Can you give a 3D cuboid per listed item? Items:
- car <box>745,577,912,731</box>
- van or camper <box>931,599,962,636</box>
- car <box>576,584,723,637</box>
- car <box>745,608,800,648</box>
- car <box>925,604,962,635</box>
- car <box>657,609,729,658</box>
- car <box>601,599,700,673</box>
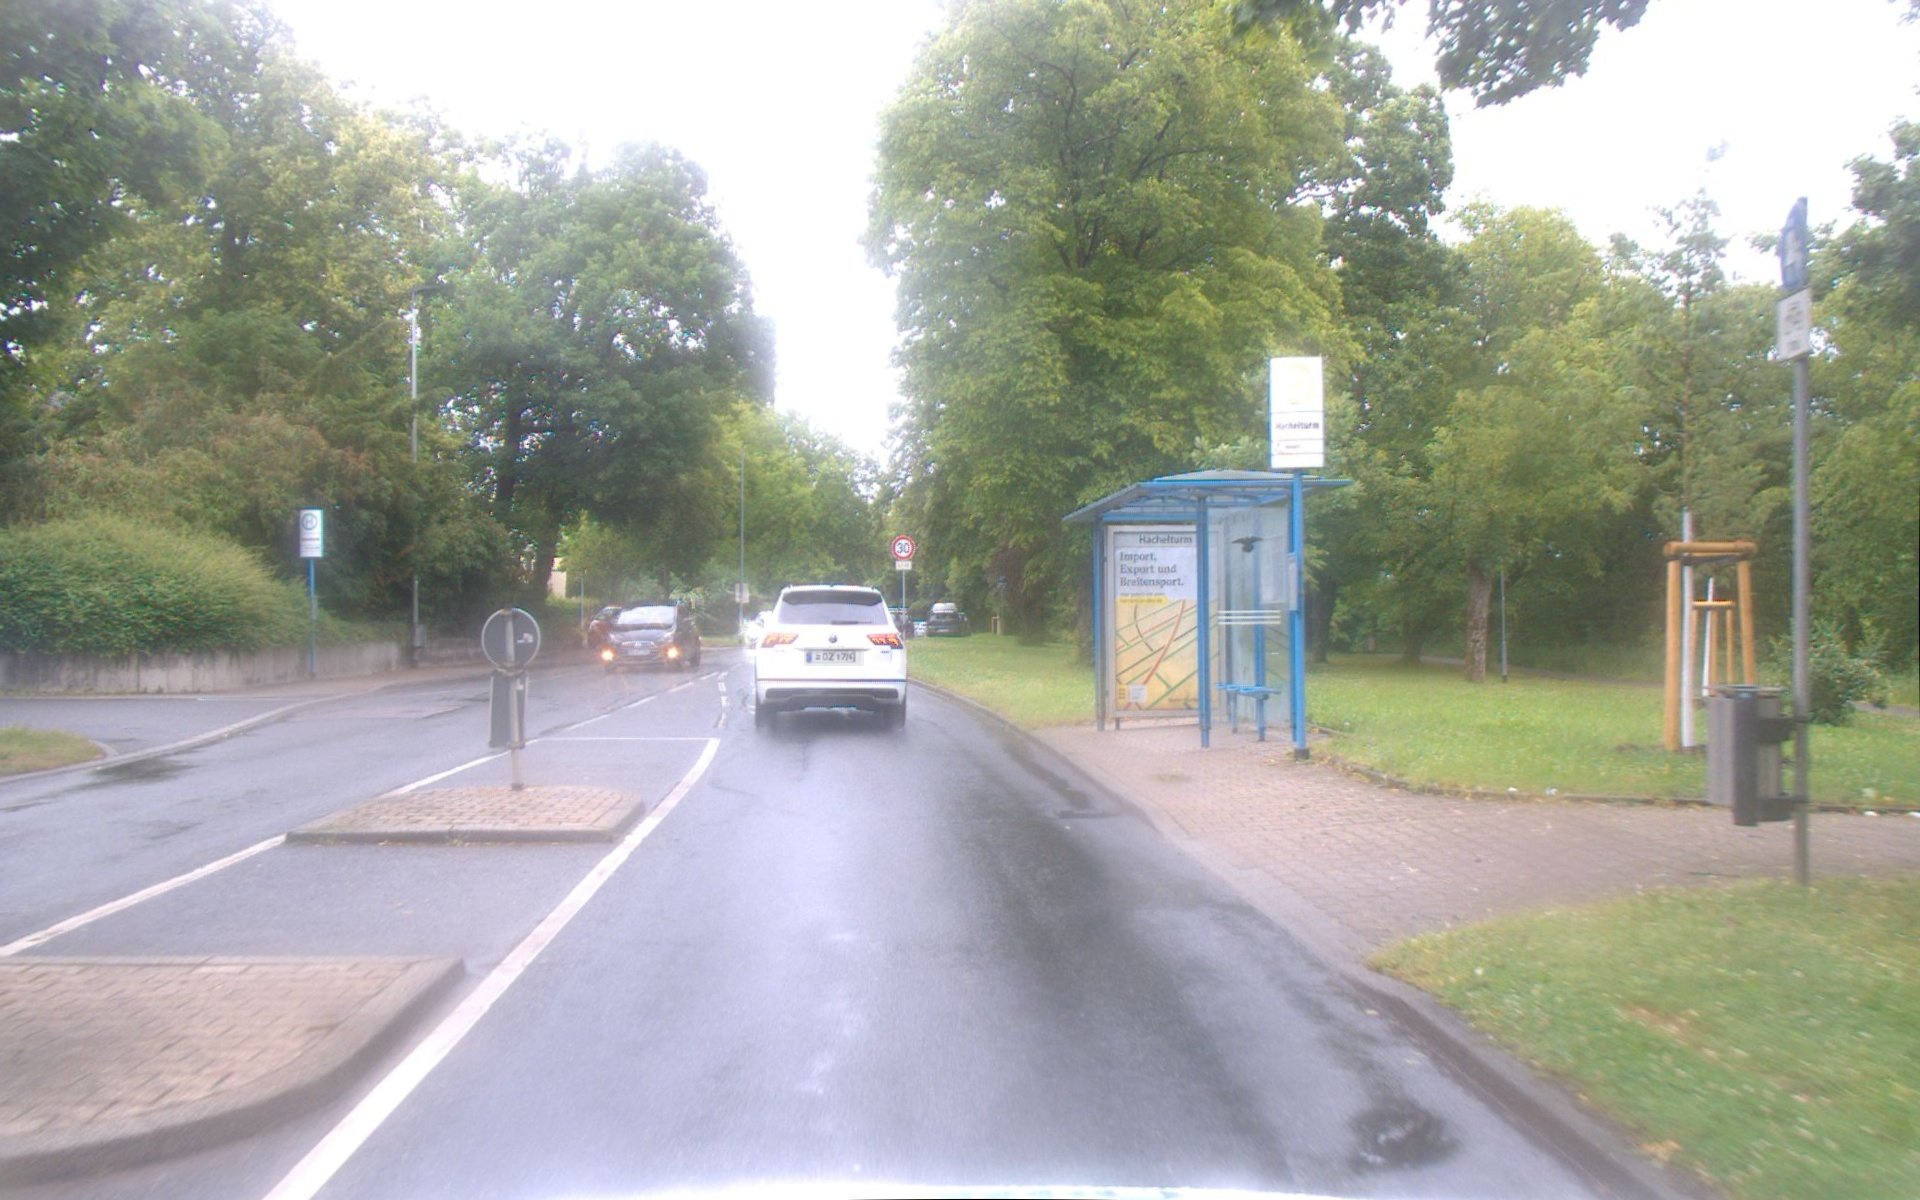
[{"bbox_3d":[-1.540,0.628,20.734,1.867,1.715,4.199,0,0,-2],"label":"car"},{"bbox_3d":[-0.971,1.336,122.089,1.974,2.628,8.436,1,-1,2],"label":"van or camper"},{"bbox_3d":[-12.929,0.446,69.329,5.631,2.074,3.476,1,-1,-5],"label":"car"},{"bbox_3d":[-7.396,1.101,65.531,1.754,1.447,4.357,-2,0,-2],"label":"car"},{"bbox_3d":[-0.791,0.992,82.420,1.665,1.487,4.217,-2,-1,1],"label":"car"},{"bbox_3d":[-9.596,1.180,59.717,1.953,1.542,4.000,1,2,-1],"label":"car"},{"bbox_3d":[-7.085,0.782,38.226,1.955,1.604,3.994,0,0,-7],"label":"car"}]
